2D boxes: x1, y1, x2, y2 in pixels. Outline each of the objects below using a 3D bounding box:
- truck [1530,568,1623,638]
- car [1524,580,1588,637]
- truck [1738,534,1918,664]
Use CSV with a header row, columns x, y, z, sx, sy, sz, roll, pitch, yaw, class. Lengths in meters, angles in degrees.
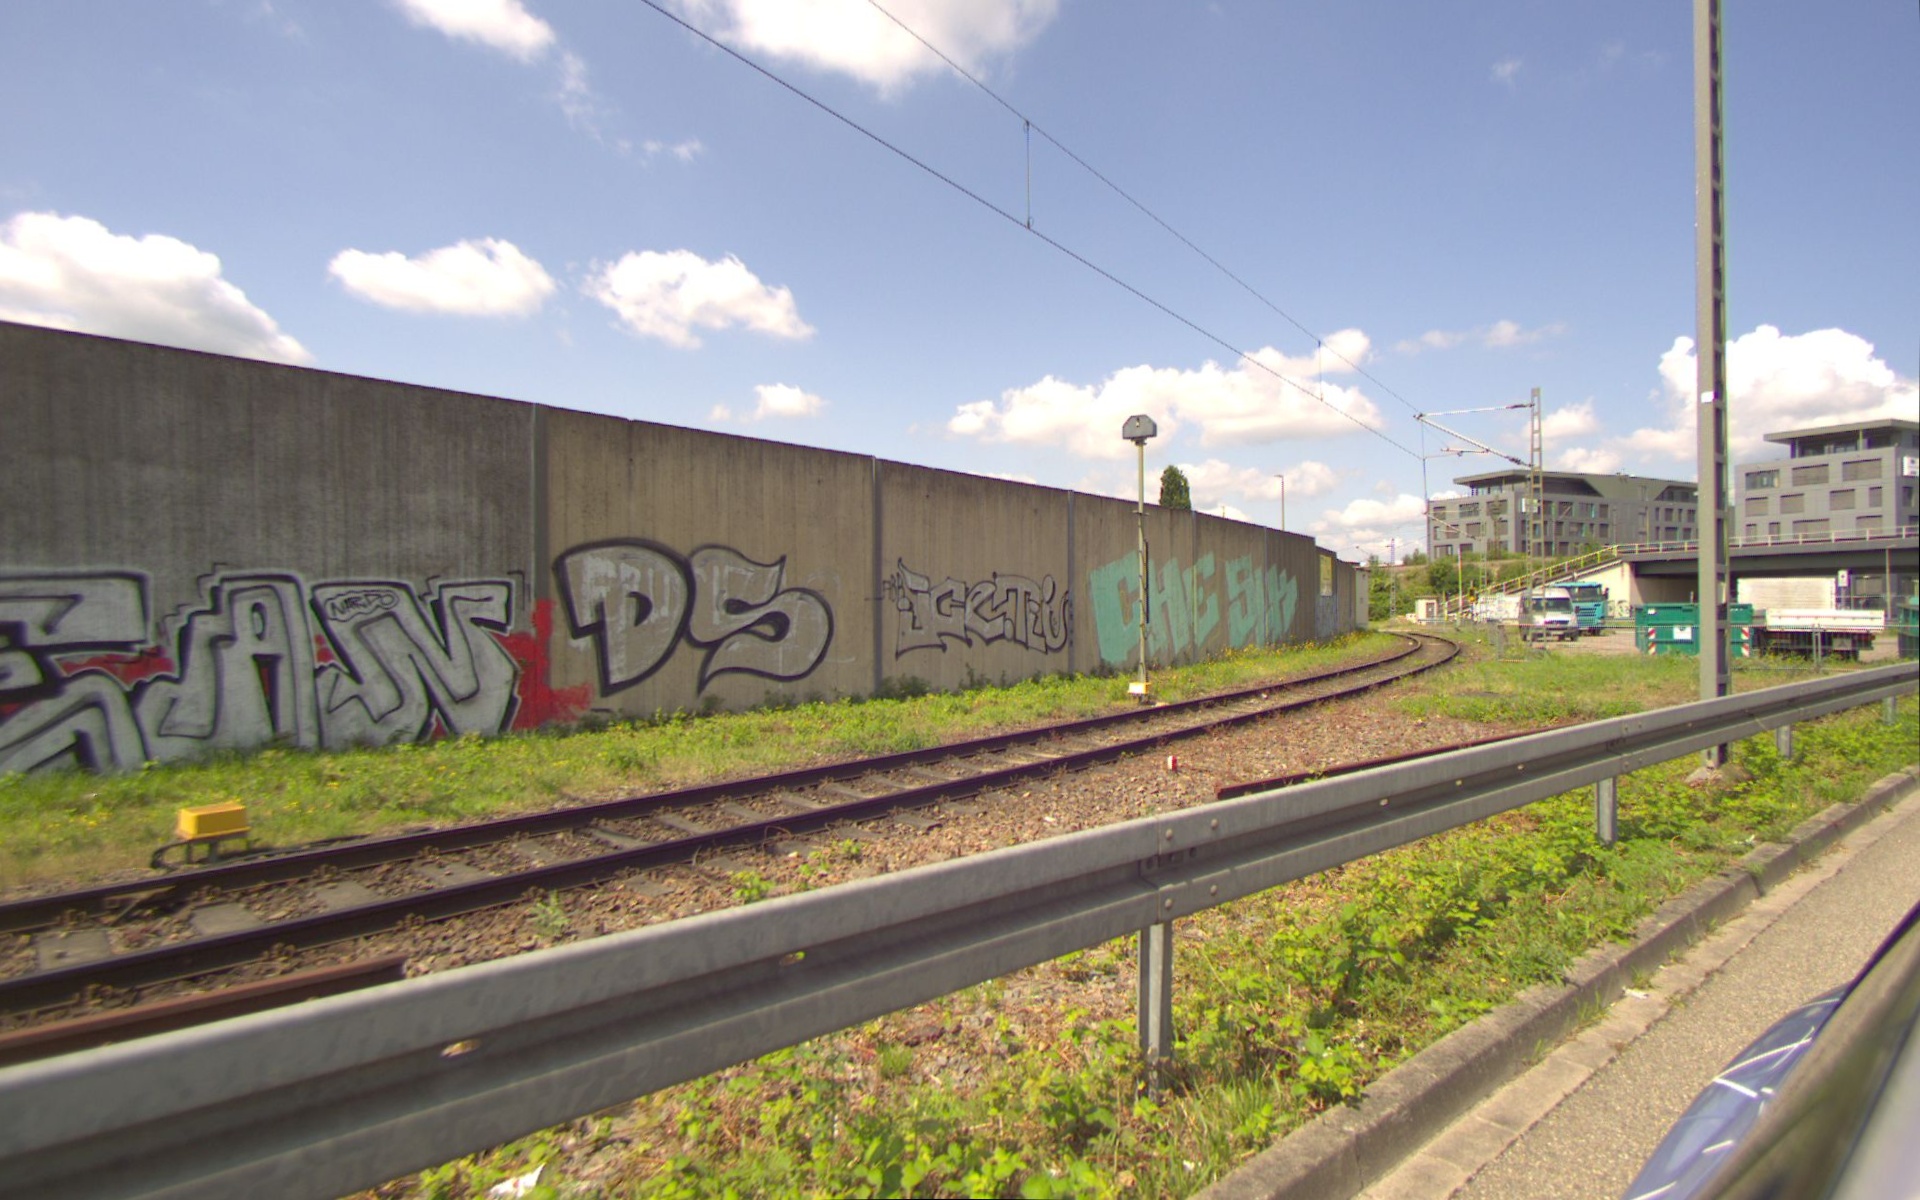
x,y,z,sx,sy,sz,roll,pitch,yaw,class
35.570,0.140,58.657,2.618,3.692,6.855,-3,0,15,truck
29.012,0.393,49.438,2.045,2.559,5.831,-2,-1,25,car
26.403,-0.066,31.221,2.972,3.462,8.022,0,0,32,truck
